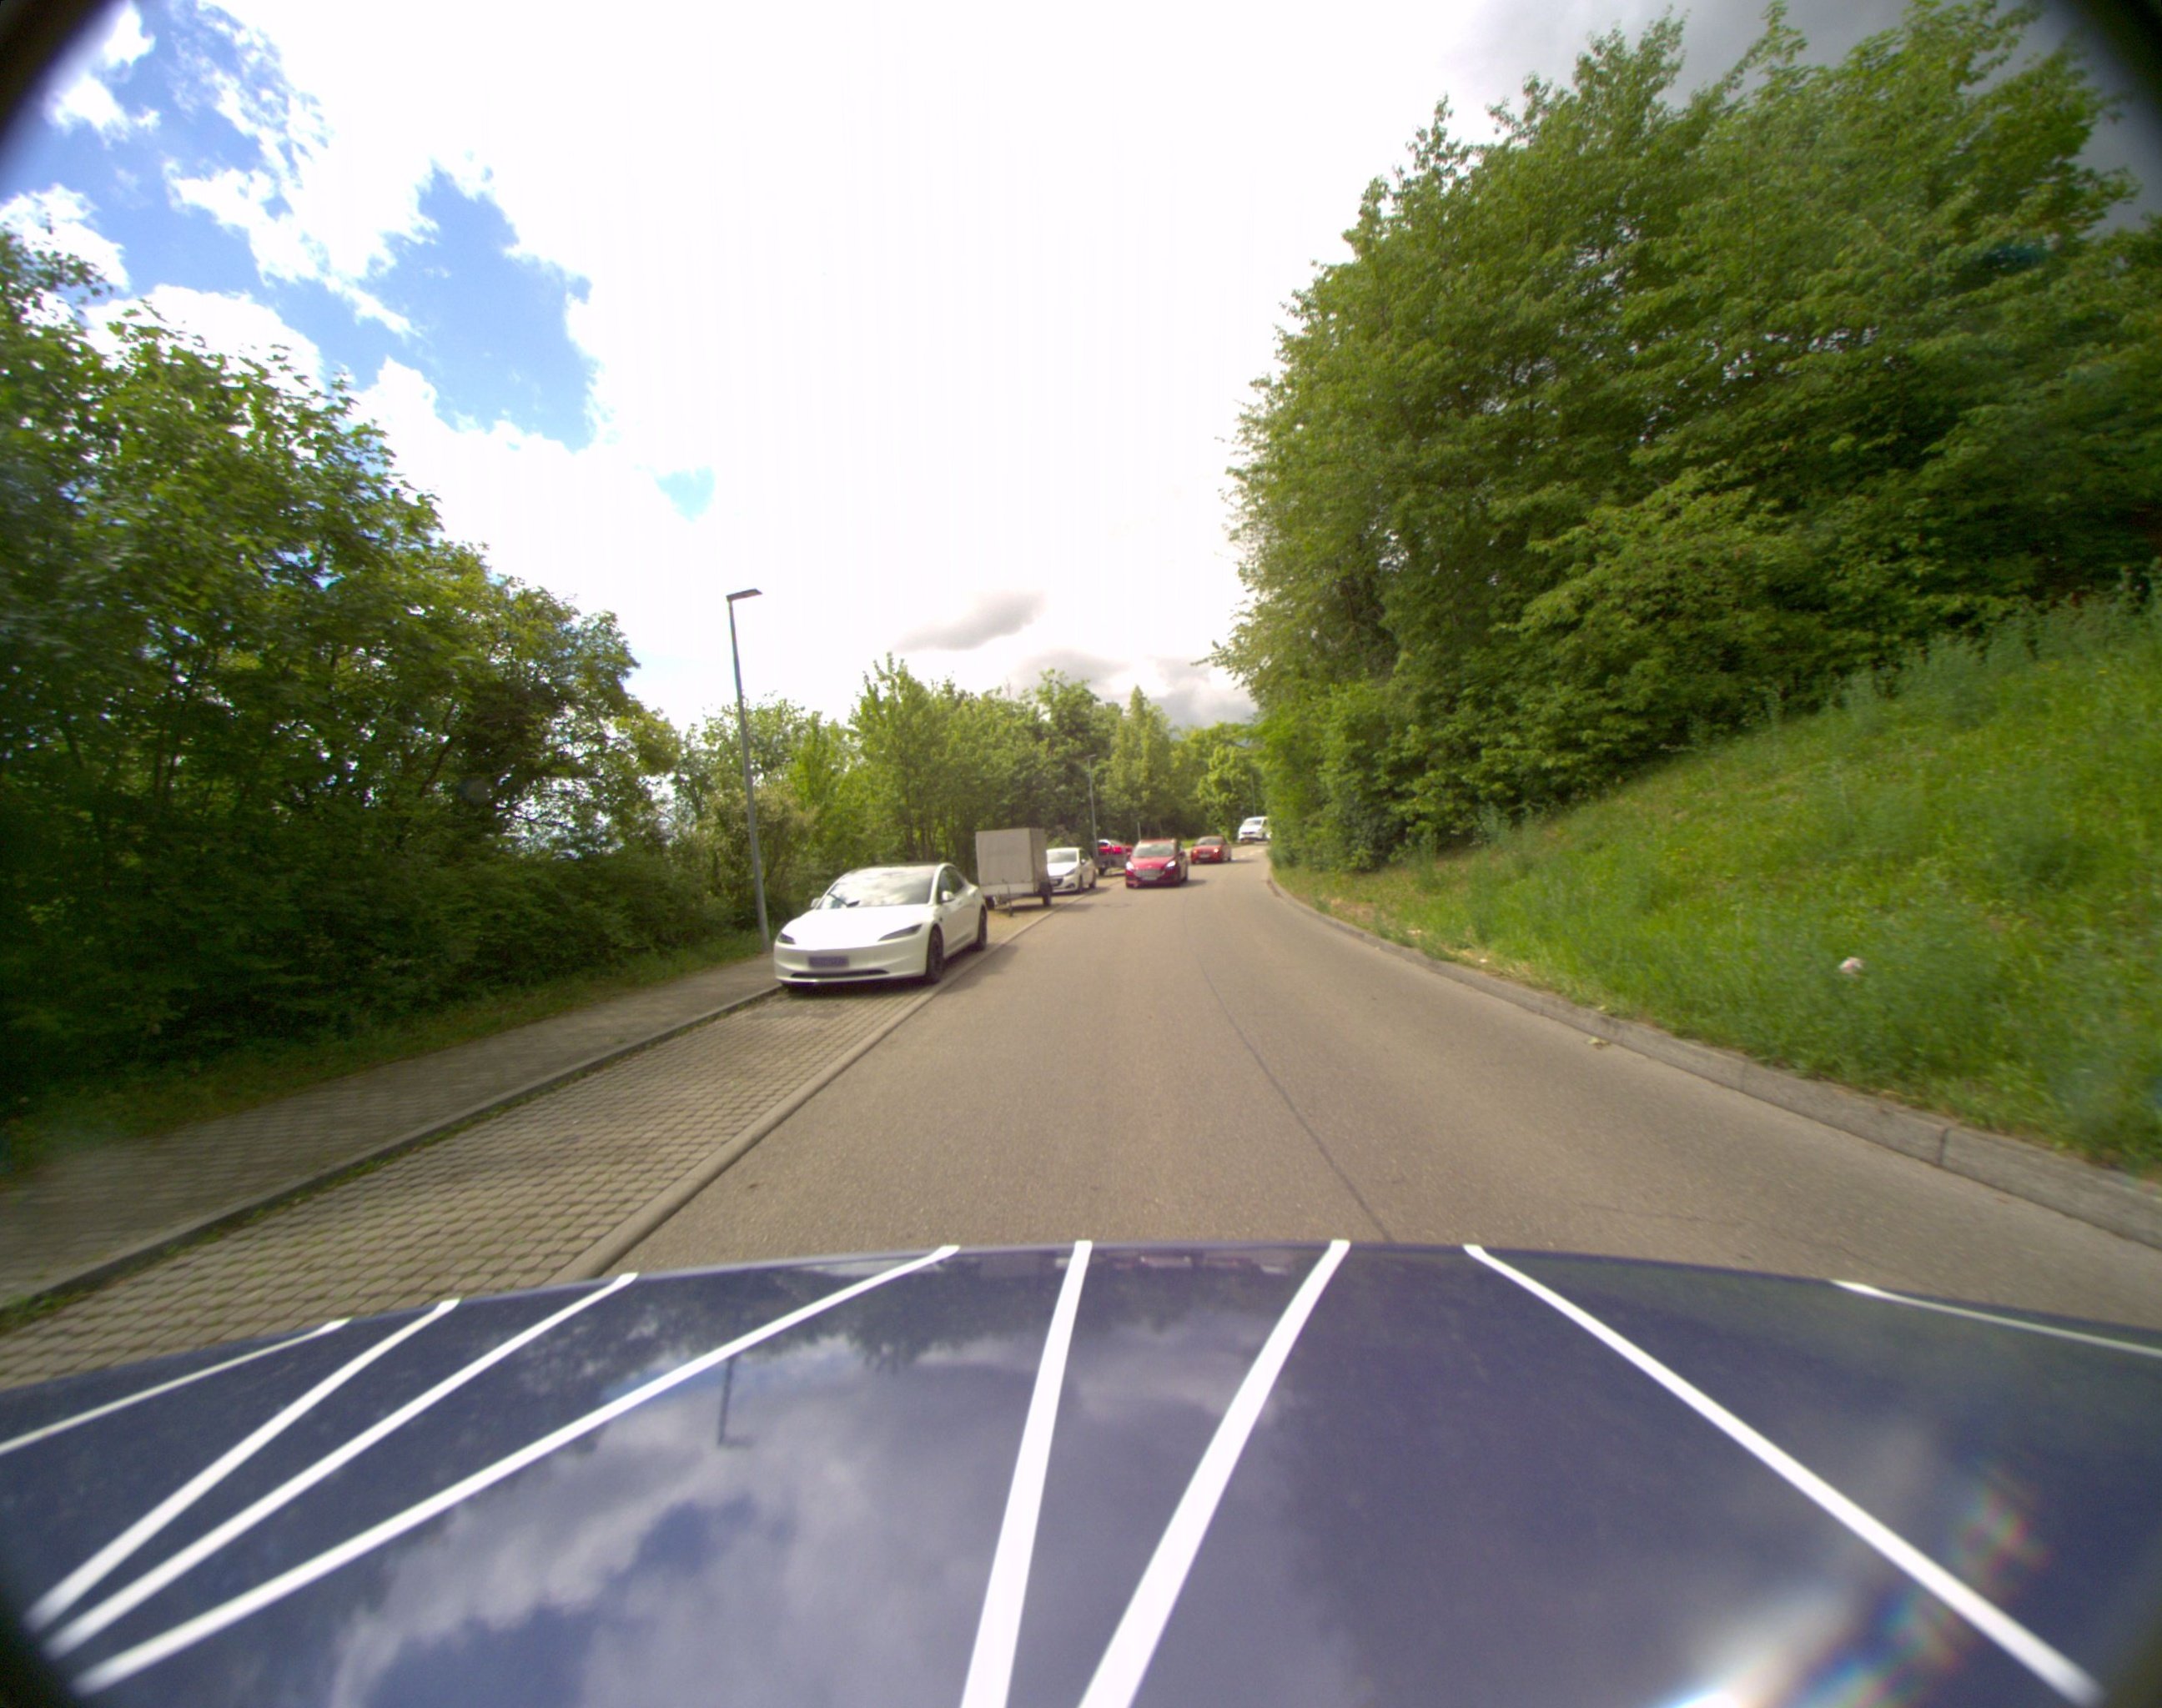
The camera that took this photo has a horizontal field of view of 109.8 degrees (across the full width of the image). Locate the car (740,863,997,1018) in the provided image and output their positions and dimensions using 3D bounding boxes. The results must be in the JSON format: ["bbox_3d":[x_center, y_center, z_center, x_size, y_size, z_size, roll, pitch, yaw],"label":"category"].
[{"bbox_3d":[-2.535,0.957,10.524,1.867,1.468,4.902,-3,0,3],"label":"car"}]

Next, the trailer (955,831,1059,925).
[{"bbox_3d":[-1.748,0.501,19.126,1.733,2.067,3.784,-3,2,7],"label":"trailer"}]

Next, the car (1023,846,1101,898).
[{"bbox_3d":[-0.532,0.541,25.216,1.709,1.469,3.785,-2,2,11],"label":"car"}]

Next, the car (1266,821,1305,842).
[{"bbox_3d":[16.524,-1.806,61.259,1.793,1.500,4.120,-4,1,33],"label":"car"}]

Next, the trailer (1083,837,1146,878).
[{"bbox_3d":[1.593,0.119,34.394,1.812,1.570,4.493,-3,2,15],"label":"trailer"}]

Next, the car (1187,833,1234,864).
[{"bbox_3d":[7.159,-0.334,41.737,1.793,1.405,4.116,-1,4,20],"label":"car"}]

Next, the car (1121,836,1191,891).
[{"bbox_3d":[2.787,0.270,27.385,1.910,1.689,4.389,-1,2,13],"label":"car"}]

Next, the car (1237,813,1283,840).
[{"bbox_3d":[15.315,-2.380,64.761,1.866,2.048,5.435,-1,3,35],"label":"car"}]

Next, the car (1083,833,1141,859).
[{"bbox_3d":[2.070,-0.534,51.507,3.479,1.509,1.654,-3,3,35],"label":"car"}]
